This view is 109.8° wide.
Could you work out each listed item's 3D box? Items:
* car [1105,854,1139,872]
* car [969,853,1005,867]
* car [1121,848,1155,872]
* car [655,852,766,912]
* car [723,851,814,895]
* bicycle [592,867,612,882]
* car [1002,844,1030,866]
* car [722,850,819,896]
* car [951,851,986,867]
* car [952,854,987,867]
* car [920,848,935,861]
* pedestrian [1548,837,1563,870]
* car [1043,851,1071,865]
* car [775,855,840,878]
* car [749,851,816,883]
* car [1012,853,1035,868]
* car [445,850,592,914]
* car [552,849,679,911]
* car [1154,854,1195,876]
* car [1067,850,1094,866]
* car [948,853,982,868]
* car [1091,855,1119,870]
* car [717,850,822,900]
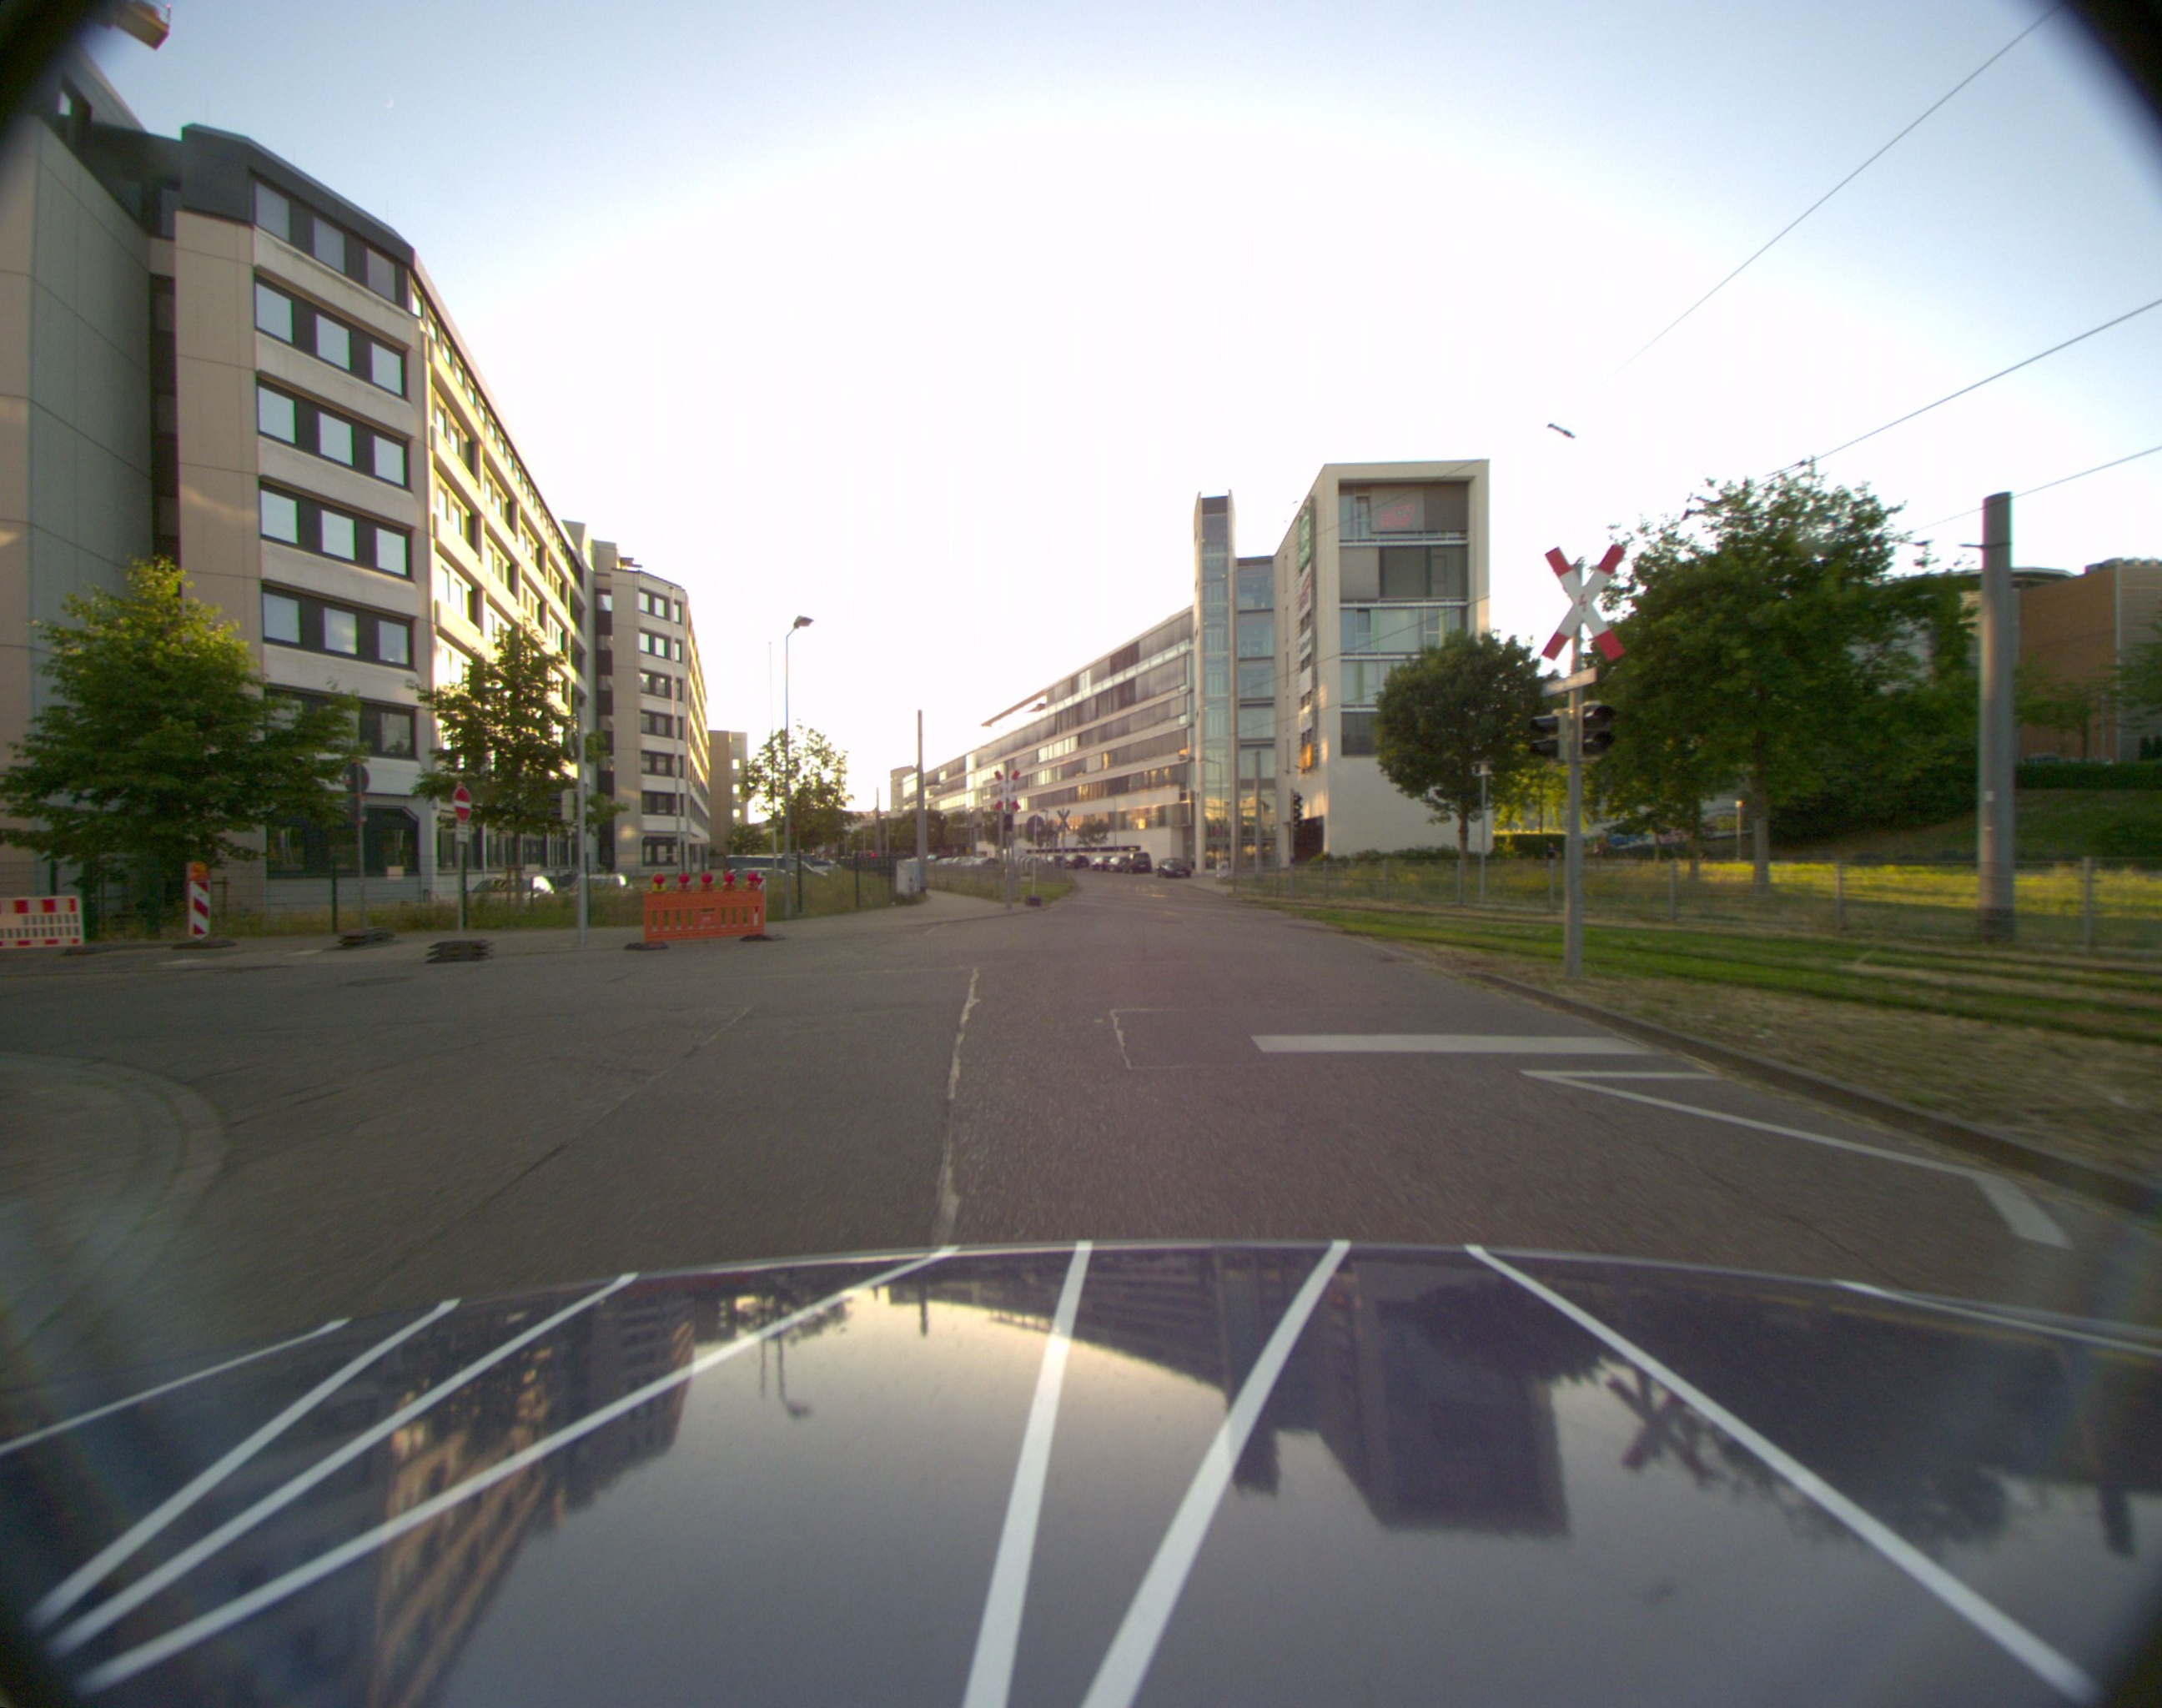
[{"bbox_3d":[3.738,0.800,70.379,1.867,1.468,4.514,-3,1,-14],"label":"car"},{"bbox_3d":[-9.916,0.639,80.192,1.713,1.368,4.007,-1,0,28],"label":"car"},{"bbox_3d":[4.851,0.519,65.500,1.895,1.961,4.514,-3,0,-9],"label":"car"},{"bbox_3d":[-13.376,0.933,27.702,1.998,2.002,4.000,-1,0,1],"label":"car"},{"bbox_3d":[-15.188,0.894,37.161,4.004,2.002,1.996,-1,0,-20],"label":"car"},{"bbox_3d":[-32.586,1.372,51.709,0.816,0.945,2.210,0,0,-24],"label":"bicycle"},{"bbox_3d":[-8.806,0.128,102.425,2.008,2.859,6.243,0,0,-23],"label":"car"},{"bbox_3d":[-14.286,0.851,35.142,4.004,2.002,1.996,-1,0,-20],"label":"car"},{"bbox_3d":[-12.614,0.528,85.705,1.713,1.746,4.008,-1,0,31],"label":"car"},{"bbox_3d":[-12.073,0.728,82.552,1.713,1.368,4.007,-1,0,28],"label":"car"},{"bbox_3d":[-30.136,0.160,149.389,2.003,2.570,3.992,-1,0,-26],"label":"car"},{"bbox_3d":[26.675,-0.032,42.690,0.450,1.826,0.483,-3,1,-18],"label":"pedestrian"},{"bbox_3d":[-2.875,0.488,89.209,1.800,1.542,3.991,-3,1,-26],"label":"car"},{"bbox_3d":[-20.152,0.907,55.963,4.410,1.584,1.814,-1,1,-22],"label":"car"},{"bbox_3d":[-19.584,0.819,49.872,4.004,2.002,1.996,-1,1,-22],"label":"car"},{"bbox_3d":[-5.869,0.659,77.029,1.633,1.503,3.412,0,0,-17],"label":"car"},{"bbox_3d":[-19.092,0.893,26.063,1.998,2.002,4.000,-1,0,1],"label":"car"},{"bbox_3d":[-16.473,0.864,27.151,1.998,2.002,4.000,-1,0,1],"label":"car"},{"bbox_3d":[6.612,0.760,54.305,1.858,1.433,4.225,-3,0,-7],"label":"car"},{"bbox_3d":[-0.114,0.393,83.079,1.799,1.676,3.993,-1,1,-18],"label":"car"},{"bbox_3d":[-13.490,0.713,88.432,1.713,1.634,4.008,-1,0,31],"label":"car"},{"bbox_3d":[2.368,0.826,75.101,1.654,1.468,3.760,0,0,-17],"label":"car"},{"bbox_3d":[-13.195,0.844,32.431,4.004,2.002,1.996,-1,0,-20],"label":"car"}]
